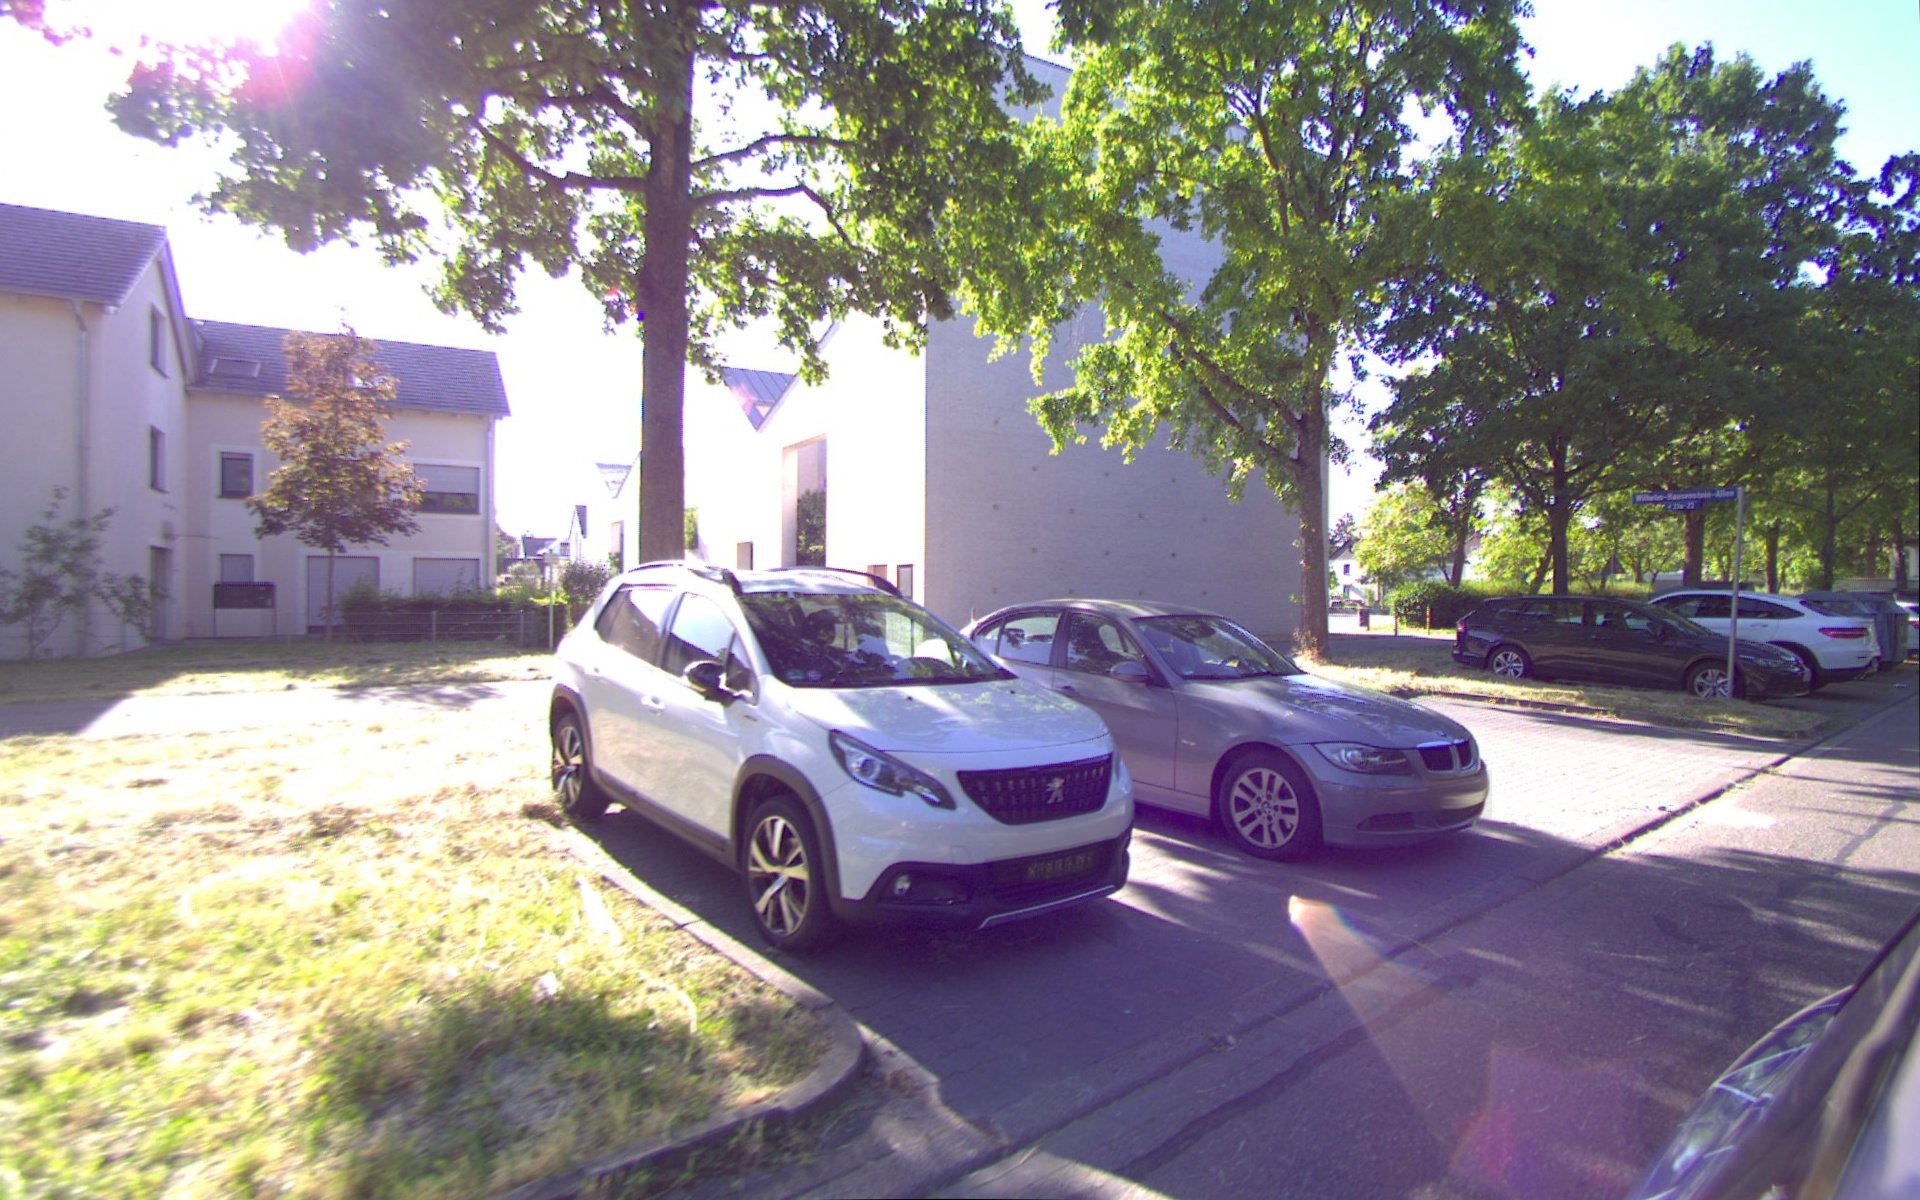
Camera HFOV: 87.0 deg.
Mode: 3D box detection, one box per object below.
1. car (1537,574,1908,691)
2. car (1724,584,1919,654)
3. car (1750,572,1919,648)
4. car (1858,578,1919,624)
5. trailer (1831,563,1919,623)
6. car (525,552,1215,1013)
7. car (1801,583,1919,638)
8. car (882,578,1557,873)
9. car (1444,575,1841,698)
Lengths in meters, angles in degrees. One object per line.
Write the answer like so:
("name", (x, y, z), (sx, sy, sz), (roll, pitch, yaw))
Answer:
("car", (12.670, 0.420, 17.107), (1.882, 1.600, 4.682), (0, 2, -39))
("car", (21.480, 0.421, 24.659), (1.767, 1.490, 4.232), (0, 2, -39))
("car", (23.482, 0.222, 26.145), (1.902, 1.823, 4.540), (0, 2, -40))
("car", (37.829, 0.074, 38.915), (1.952, 1.743, 4.653), (0, 3, -39))
("trailer", (39.460, -0.251, 41.223), (1.655, 2.346, 5.791), (0, 3, -38))
("car", (-0.796, 0.536, 5.427), (1.746, 1.515, 3.893), (0, 3, -41))
("car", (28.291, 0.294, 30.472), (2.040, 1.537, 4.256), (0, 2, -39))
("car", (1.505, 0.577, 7.291), (1.877, 1.407, 4.454), (0, 2, -40))
("car", (10.163, 0.421, 15.413), (1.883, 1.473, 4.680), (0, 2, -41))
